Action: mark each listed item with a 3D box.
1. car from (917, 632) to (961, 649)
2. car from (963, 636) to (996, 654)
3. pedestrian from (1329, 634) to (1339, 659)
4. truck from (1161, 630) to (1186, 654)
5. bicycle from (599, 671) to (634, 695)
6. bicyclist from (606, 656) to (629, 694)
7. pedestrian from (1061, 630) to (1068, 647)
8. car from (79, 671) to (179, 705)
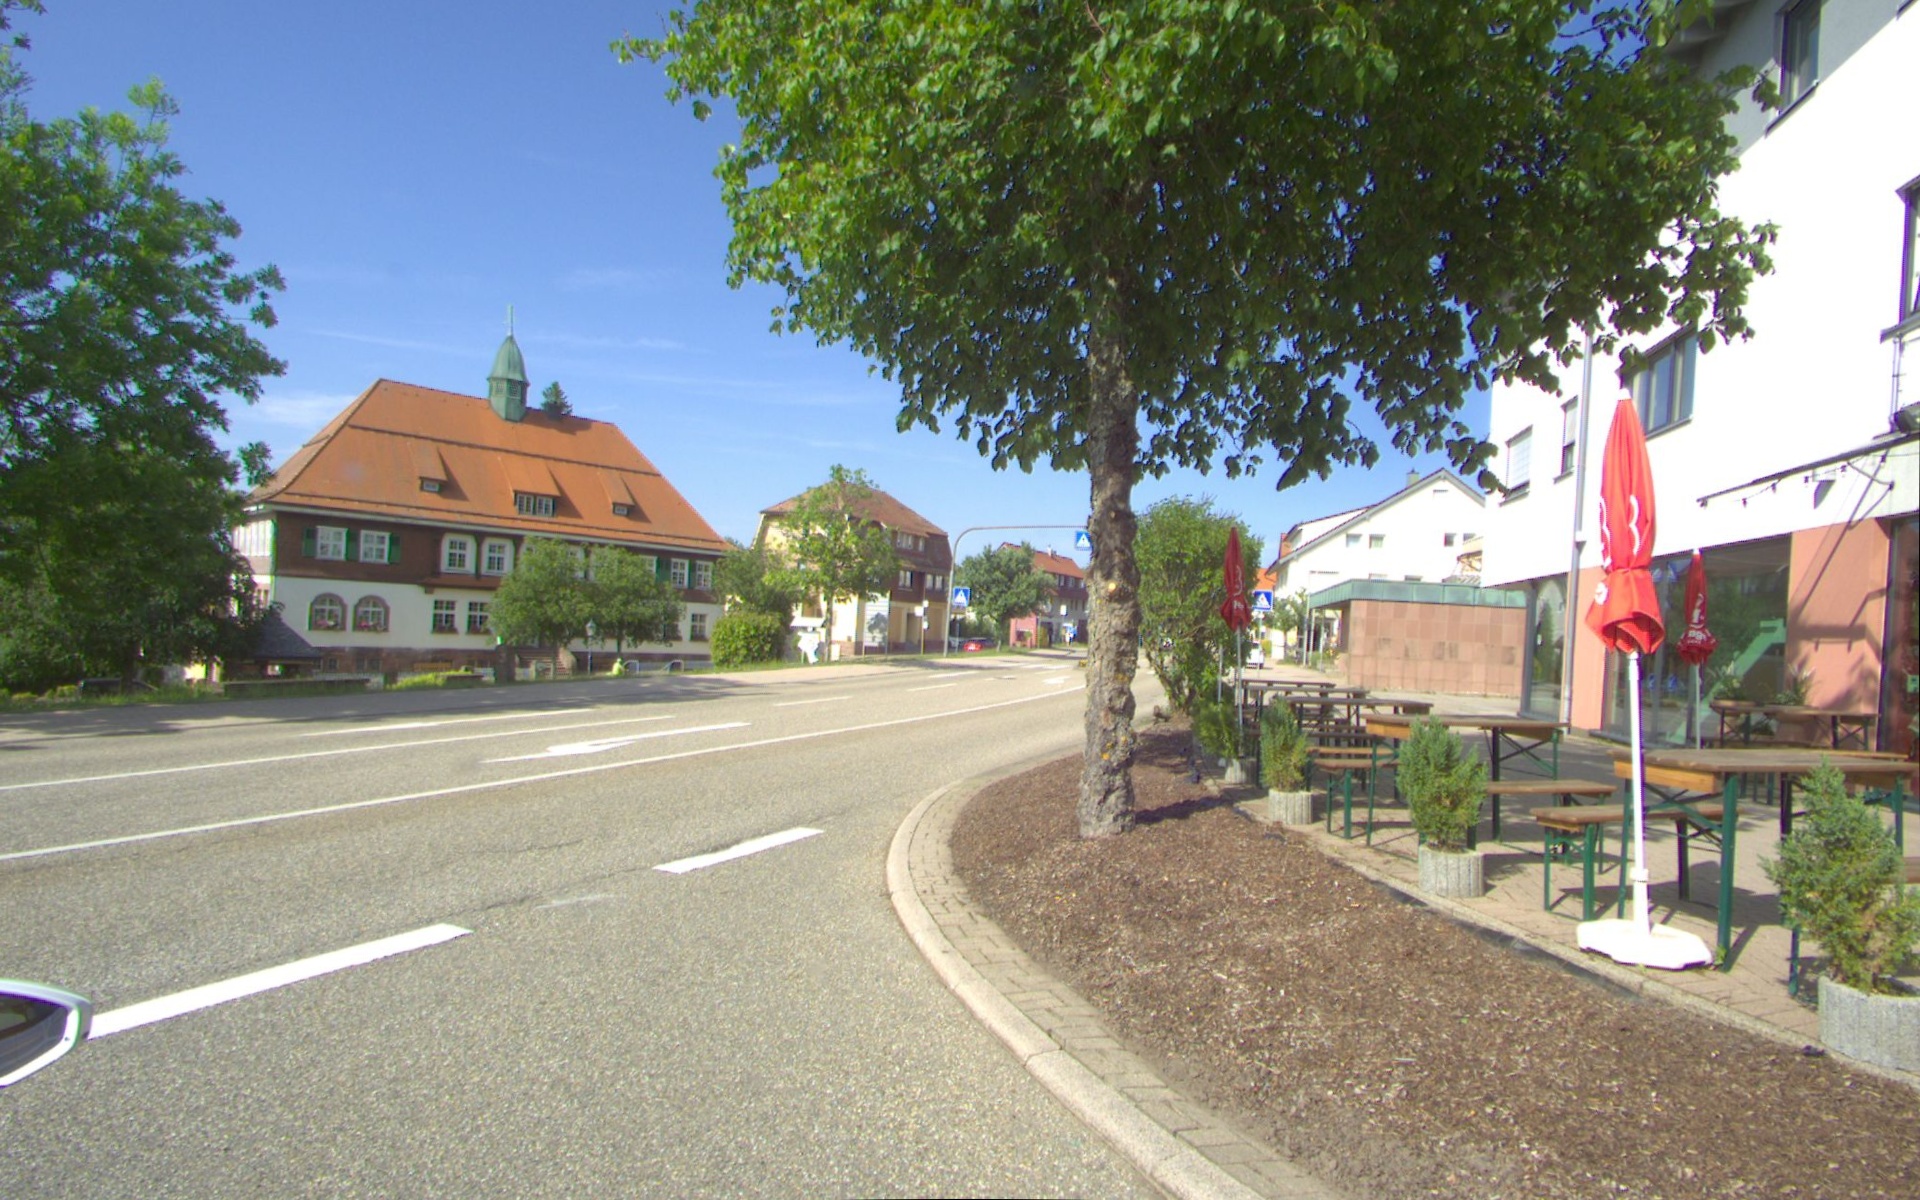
[{"bbox_3d":[-1.953,3.744,92.789,3.648,1.451,1.774,-2,-2,19],"label":"car"},{"bbox_3d":[1.642,3.701,82.060,1.744,1.451,3.710,-1,-2,17],"label":"car"},{"bbox_3d":[24.066,2.975,64.372,0.557,1.613,0.484,0,-1,16],"label":"pedestrian"},{"bbox_3d":[22.420,4.351,105.043,1.964,2.372,6.487,2,-1,17],"label":"truck"},{"bbox_3d":[-18.258,4.423,53.292,1.711,1.205,0.533,2,-2,-44],"label":"bicycle"},{"bbox_3d":[-18.246,3.978,53.310,0.988,1.949,0.576,1,-2,-44],"label":"bicyclist"},{"bbox_3d":[11.476,4.216,109.922,0.489,1.771,0.587,-1,-1,31],"label":"pedestrian"},{"bbox_3d":[-41.593,4.373,50.165,1.696,1.463,3.751,-2,-2,44],"label":"car"}]
